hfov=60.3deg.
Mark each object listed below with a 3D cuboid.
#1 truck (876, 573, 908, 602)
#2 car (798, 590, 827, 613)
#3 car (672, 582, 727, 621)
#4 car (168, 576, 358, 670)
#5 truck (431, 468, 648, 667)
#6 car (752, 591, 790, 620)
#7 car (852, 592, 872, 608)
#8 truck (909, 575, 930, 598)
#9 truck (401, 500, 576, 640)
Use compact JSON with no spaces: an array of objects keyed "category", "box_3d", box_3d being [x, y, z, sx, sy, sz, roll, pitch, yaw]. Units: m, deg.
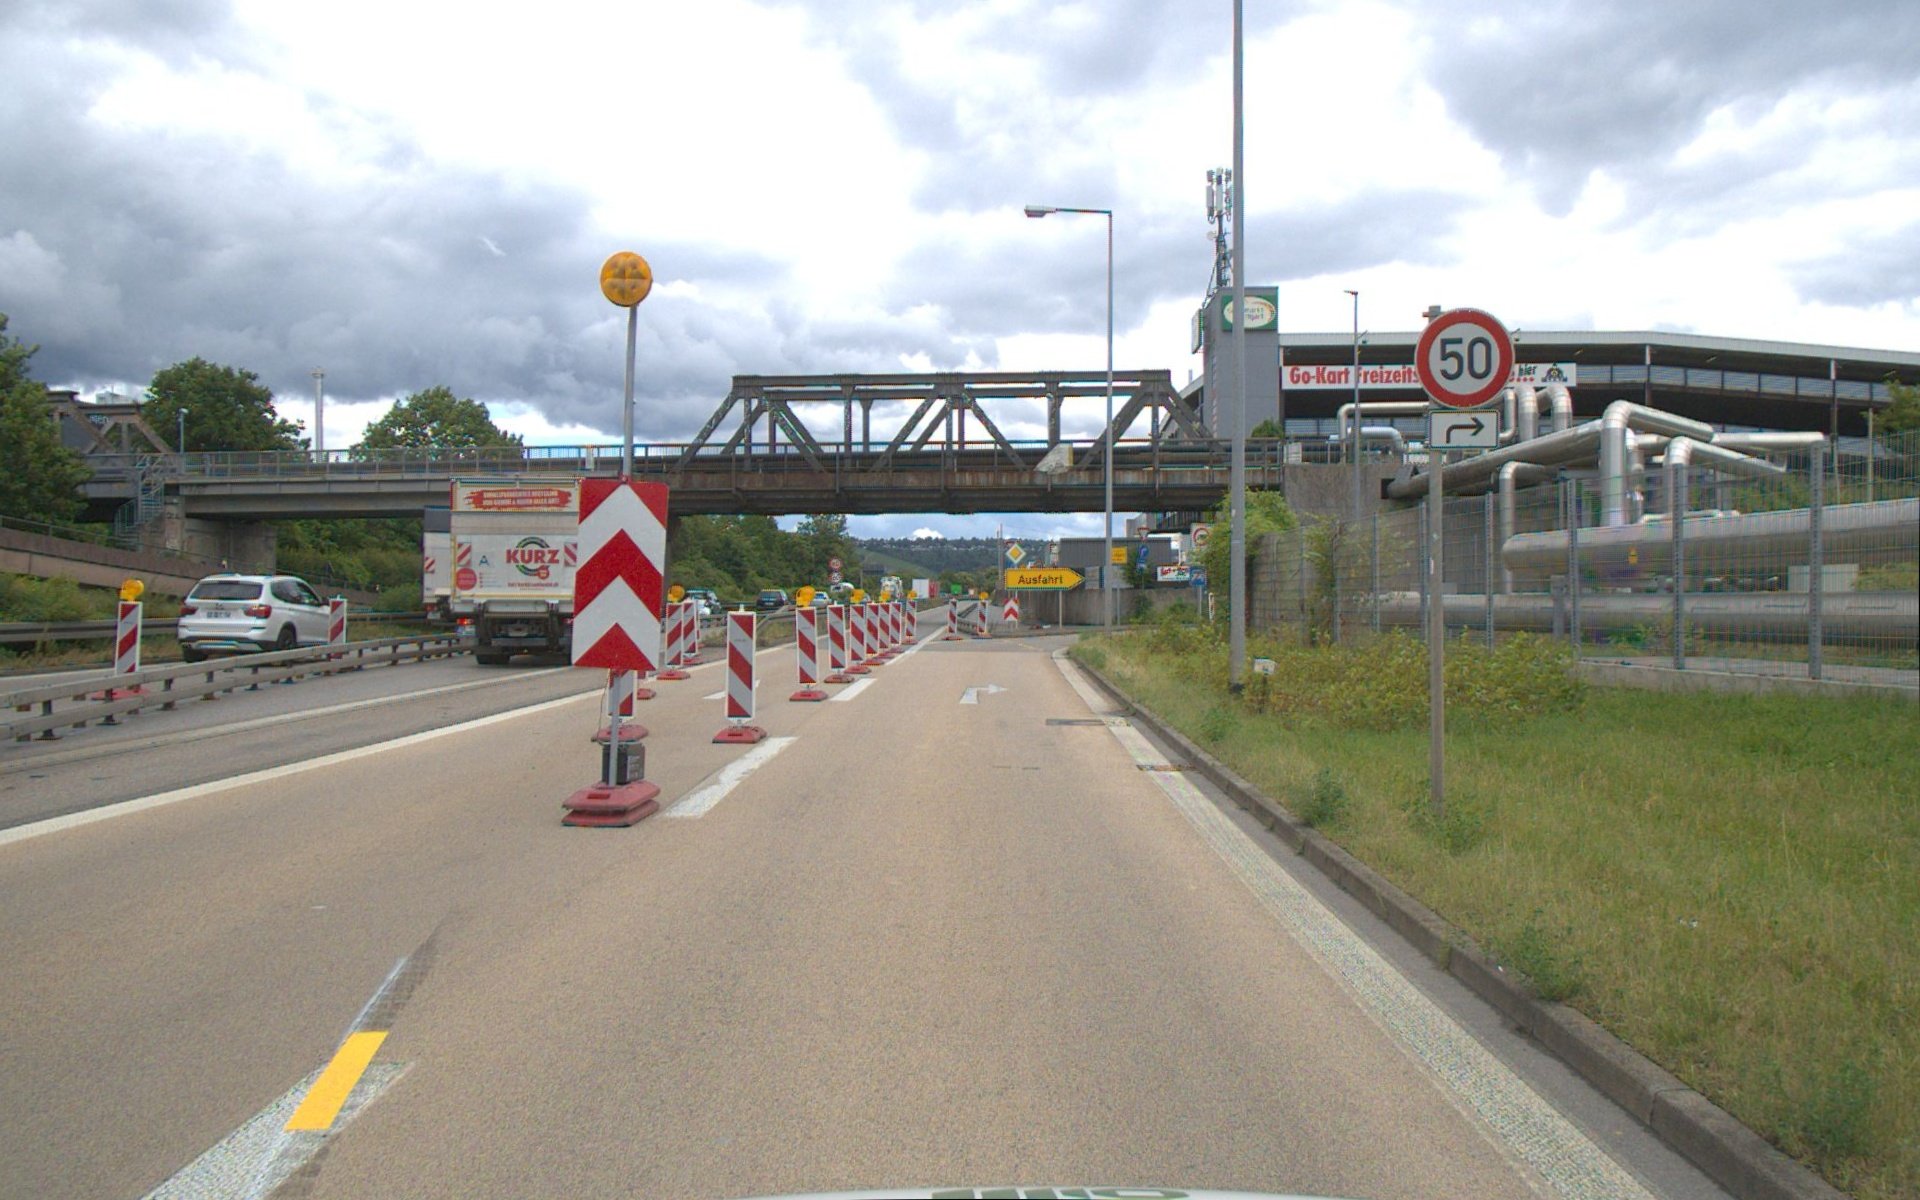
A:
[{"category":"truck","box_3d":[-8.817,-1.631,214.638,3.643,3.709,7.729,0,0,2]},{"category":"car","box_3d":[-11.669,0.107,130.975,1.953,1.847,4.000,0,0,0]},{"category":"car","box_3d":[-12.486,0.067,79.420,1.953,1.790,4.000,-1,0,0]},{"category":"car","box_3d":[-13.322,0.427,31.897,1.816,1.669,4.291,1,0,0]},{"category":"truck","box_3d":[-8.811,-0.566,35.973,2.895,3.693,10.143,0,0,-5]},{"category":"car","box_3d":[-11.887,0.365,104.190,1.953,1.790,4.000,-1,0,0]},{"category":"car","box_3d":[-10.139,0.021,171.883,1.742,1.624,3.750,0,0,2]},{"category":"truck","box_3d":[-5.707,-1.937,235.210,2.626,3.195,6.133,1,0,2]},{"category":"truck","box_3d":[-13.163,-0.754,46.894,2.934,3.619,7.737,-1,0,-2]}]
